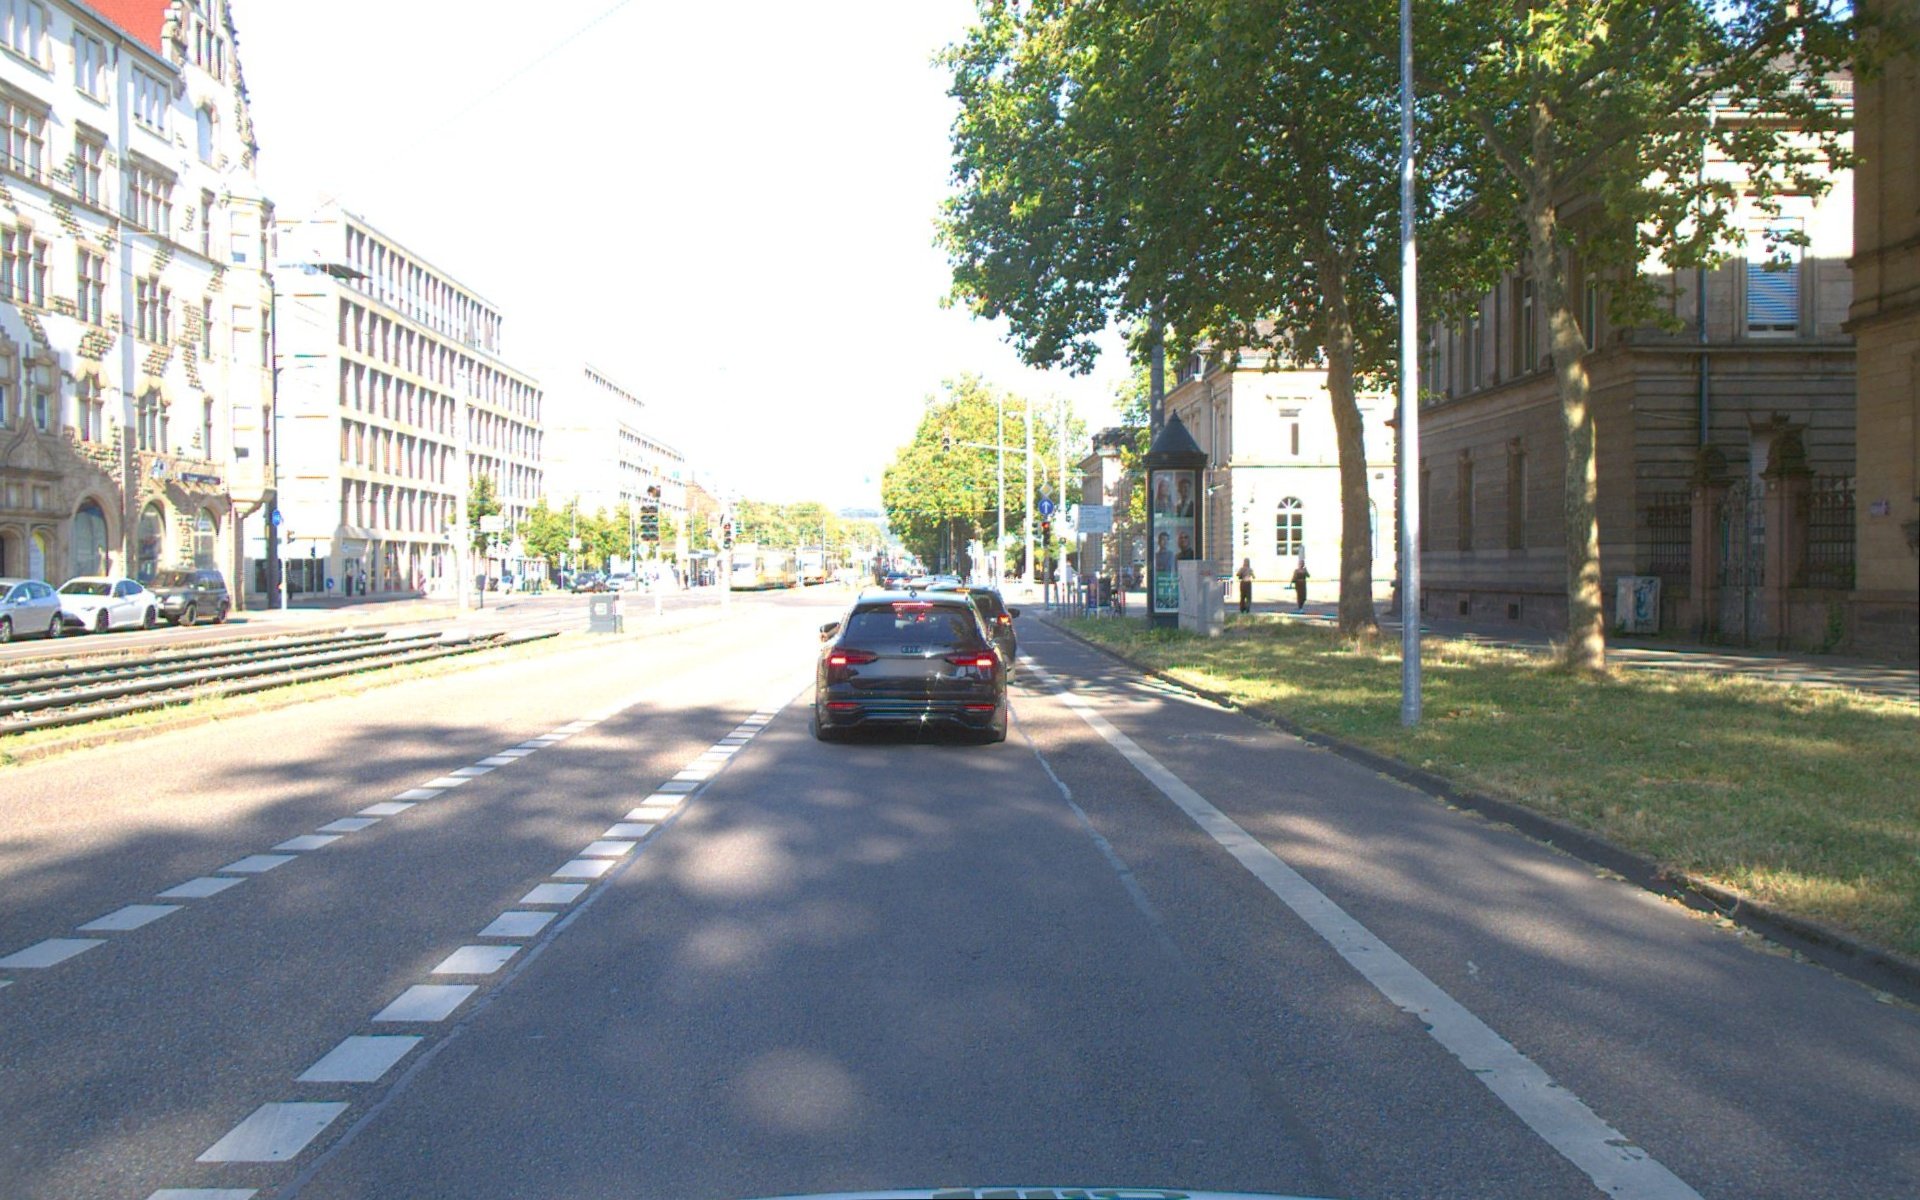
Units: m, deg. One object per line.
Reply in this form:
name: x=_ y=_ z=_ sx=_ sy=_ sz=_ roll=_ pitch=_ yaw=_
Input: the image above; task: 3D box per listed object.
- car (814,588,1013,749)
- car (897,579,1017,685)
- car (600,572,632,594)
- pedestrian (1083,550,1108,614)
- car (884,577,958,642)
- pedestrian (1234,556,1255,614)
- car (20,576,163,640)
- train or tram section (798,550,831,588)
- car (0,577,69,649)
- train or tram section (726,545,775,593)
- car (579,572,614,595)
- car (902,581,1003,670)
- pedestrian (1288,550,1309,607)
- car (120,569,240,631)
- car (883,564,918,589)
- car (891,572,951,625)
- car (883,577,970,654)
car: x=-0.491 y=0.605 z=17.062 sx=1.796 sy=1.415 sz=4.158 roll=0 pitch=1 yaw=-2
car: x=-0.077 y=0.444 z=26.433 sx=1.758 sy=1.536 sz=4.000 roll=-1 pitch=1 yaw=-1
car: x=-25.698 y=-1.289 z=123.572 sx=1.759 sy=1.536 sz=3.997 roll=-1 pitch=1 yaw=-4
pedestrian: x=3.756 y=-0.505 z=45.909 sx=0.575 sy=1.758 sz=0.651 roll=2 pitch=1 yaw=11
car: x=-0.949 y=0.196 z=41.461 sx=1.758 sy=1.536 sz=4.000 roll=-1 pitch=1 yaw=-1
pedestrian: x=8.889 y=-0.472 z=51.617 sx=0.575 sy=1.758 sz=0.651 roll=2 pitch=1 yaw=11
car: x=-23.488 y=0.180 z=44.898 sx=1.758 sy=1.536 sz=4.183 roll=3 pitch=1 yaw=-3
train or tram section: x=-13.926 y=-2.969 z=158.804 sx=2.769 sy=3.511 sz=9.059 roll=-1 pitch=1 yaw=-3
car: x=-23.082 y=0.284 z=39.424 sx=1.760 sy=1.536 sz=3.996 roll=3 pitch=1 yaw=-6
train or tram section: x=-16.019 y=-2.409 z=127.160 sx=2.768 sy=3.511 sz=9.062 roll=-1 pitch=1 yaw=-1
car: x=-25.005 y=-1.179 z=113.975 sx=1.759 sy=1.536 sz=3.997 roll=-1 pitch=1 yaw=-4
car: x=-0.164 y=0.422 z=31.043 sx=1.758 sy=1.536 sz=4.000 roll=-1 pitch=1 yaw=-1
pedestrian: x=10.533 y=-0.675 z=51.407 sx=0.575 sy=1.758 sz=0.651 roll=2 pitch=1 yaw=13
car: x=-23.710 y=-0.037 z=50.460 sx=1.758 sy=1.748 sz=4.183 roll=3 pitch=1 yaw=-3
car: x=-3.757 y=-1.481 z=104.703 sx=1.756 sy=1.536 sz=4.002 roll=1 pitch=0 yaw=4
car: x=-1.176 y=-0.069 z=50.796 sx=1.758 sy=1.536 sz=4.000 roll=-1 pitch=1 yaw=-1
car: x=-0.710 y=0.289 z=35.745 sx=1.758 sy=1.536 sz=4.000 roll=-1 pitch=1 yaw=-1
